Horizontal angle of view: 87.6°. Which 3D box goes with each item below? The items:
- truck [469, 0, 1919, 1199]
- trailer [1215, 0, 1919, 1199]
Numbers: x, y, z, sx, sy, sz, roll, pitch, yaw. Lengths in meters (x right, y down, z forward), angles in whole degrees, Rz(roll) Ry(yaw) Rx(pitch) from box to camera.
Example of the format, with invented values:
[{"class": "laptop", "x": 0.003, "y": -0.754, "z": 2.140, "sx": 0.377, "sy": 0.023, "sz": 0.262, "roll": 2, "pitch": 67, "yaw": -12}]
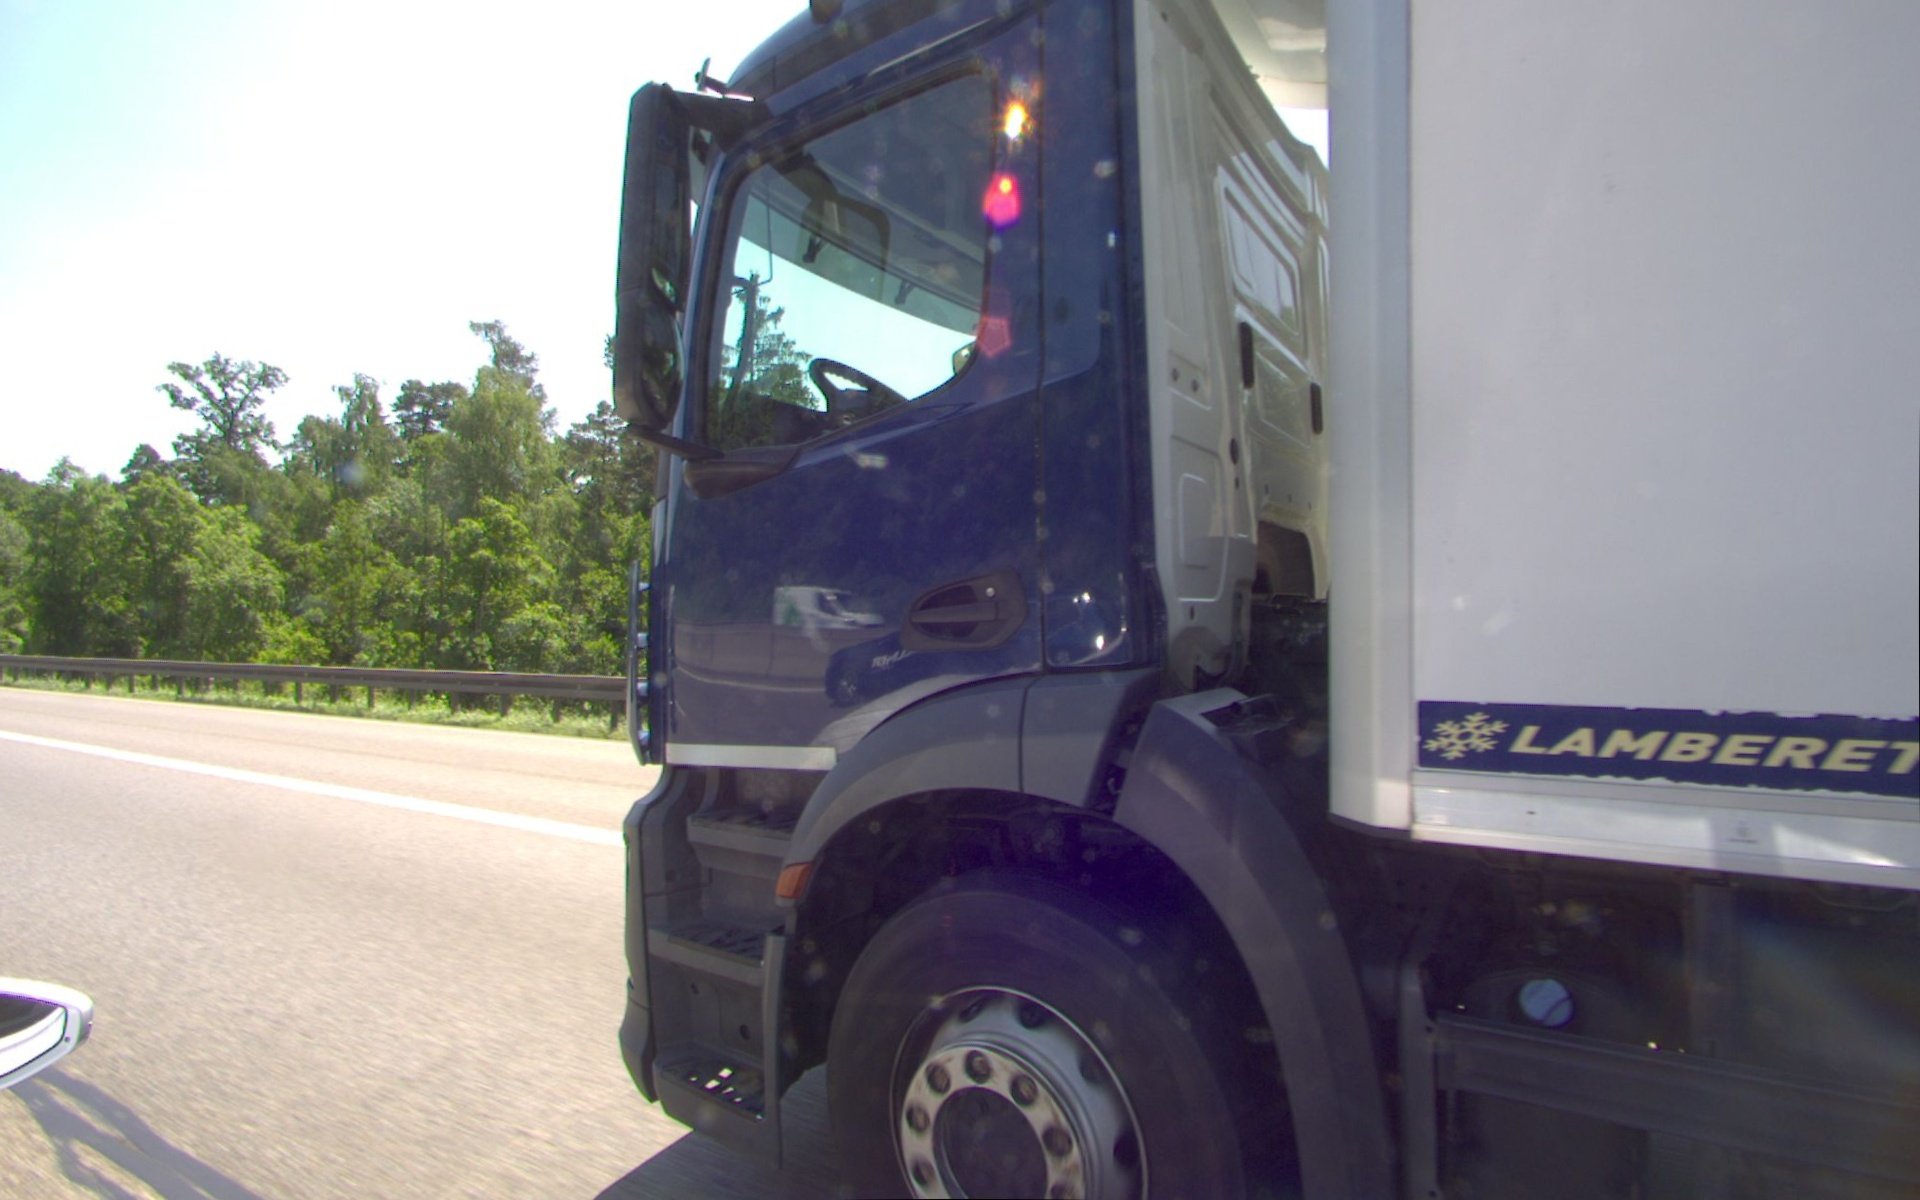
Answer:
[{"class": "truck", "x": 1.188, "y": -0.015, "z": 2.441, "sx": 4.046, "sy": 2.979, "sz": 2.550, "roll": -2, "pitch": -1, "yaw": 33}, {"class": "trailer", "x": 4.315, "y": -0.087, "z": 0.450, "sx": 7.769, "sy": 2.936, "sz": 2.551, "roll": -1, "pitch": -1, "yaw": 32}]
